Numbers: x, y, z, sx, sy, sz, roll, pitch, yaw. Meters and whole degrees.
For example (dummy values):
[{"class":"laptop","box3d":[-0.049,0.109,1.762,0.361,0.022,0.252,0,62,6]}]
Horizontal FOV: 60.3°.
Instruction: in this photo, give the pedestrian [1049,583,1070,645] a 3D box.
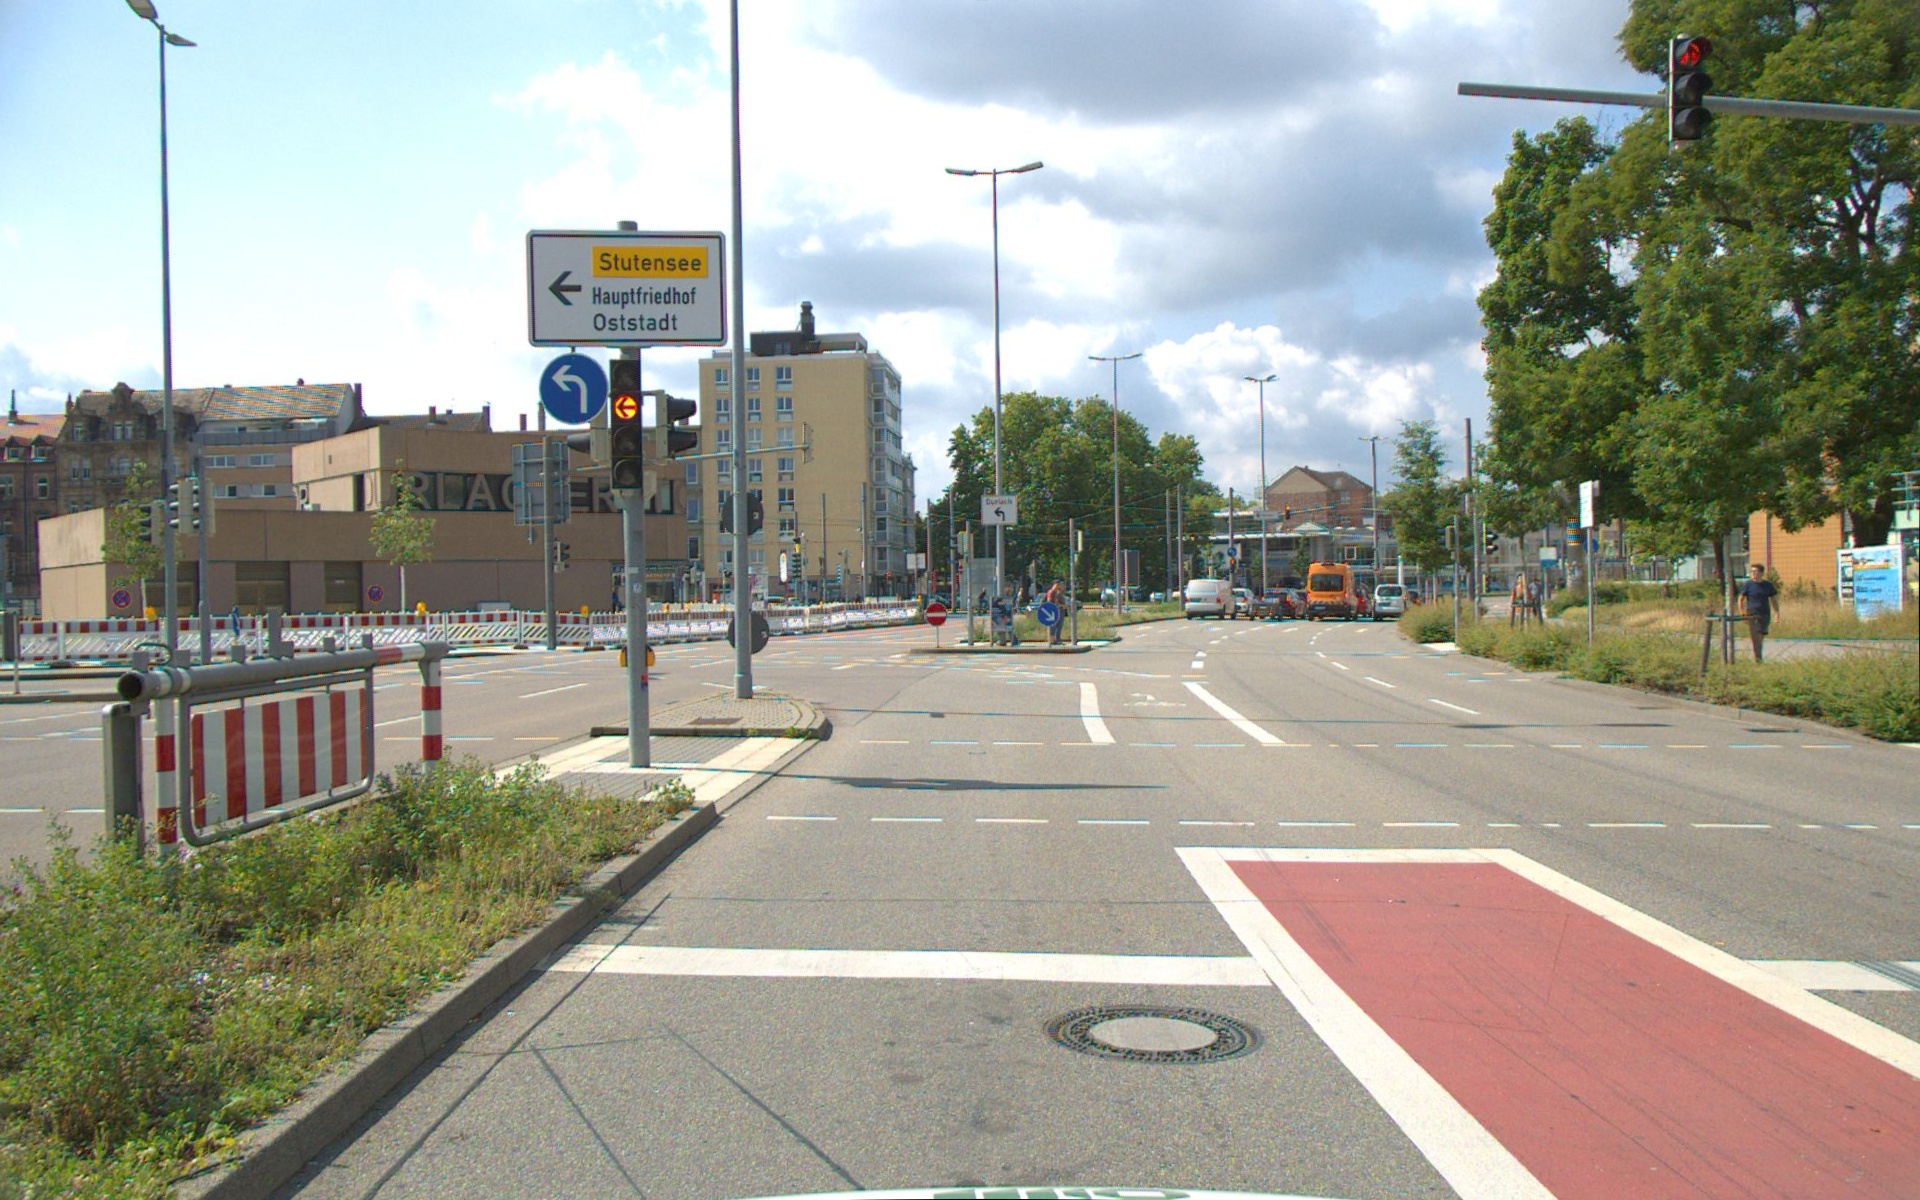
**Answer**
[{"class":"pedestrian","box3d":[2.801,0.393,46.456,0.513,1.713,0.624,-1,0,7]}]

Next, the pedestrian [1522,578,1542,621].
[{"class":"pedestrian","box3d":[24.490,-0.005,70.791,0.771,1.815,0.667,-1,0,19]}]

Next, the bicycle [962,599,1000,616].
[{"class":"bicycle","box3d":[1.374,0.476,108.049,2.329,1.085,0.859,-1,0,18]}]

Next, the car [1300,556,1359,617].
[{"class":"car","box3d":[18.111,-0.656,80.926,2.086,2.829,4.639,-2,0,21]}]

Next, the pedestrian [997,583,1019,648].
[{"class":"pedestrian","box3d":[1.329,0.419,45.403,0.513,1.764,0.624,-1,0,7]}]

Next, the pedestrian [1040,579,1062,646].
[{"class":"pedestrian","box3d":[2.431,0.333,44.321,0.513,1.764,0.624,-1,0,7]}]

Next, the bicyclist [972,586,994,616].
[{"class":"bicyclist","box3d":[1.483,0.053,108.013,1.194,1.943,0.859,-1,0,18]}]

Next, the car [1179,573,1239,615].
[{"class":"car","box3d":[12.543,-0.309,83.048,1.964,2.001,4.639,-2,0,21]}]

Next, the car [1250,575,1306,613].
[{"class":"car","box3d":[16.140,-0.313,83.843,1.953,1.858,3.999,-2,0,22]}]

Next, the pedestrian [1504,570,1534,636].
[{"class":"pedestrian","box3d":[15.234,0.075,45.087,0.646,1.764,0.578,-1,0,7]}]

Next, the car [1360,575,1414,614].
[{"class":"car","box3d":[20.846,-0.281,80.602,1.953,1.826,3.999,-2,0,23]}]

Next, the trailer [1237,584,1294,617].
[{"class":"trailer","box3d":[14.943,0.003,80.760,1.953,1.503,3.999,-2,0,22]}]

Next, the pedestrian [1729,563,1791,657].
[{"class":"pedestrian","box3d":[13.308,0.156,27.525,0.754,1.534,0.552,-1,0,3]}]

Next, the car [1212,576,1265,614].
[{"class":"car","box3d":[15.296,-0.313,90.664,1.950,1.972,4.639,-2,0,21]}]

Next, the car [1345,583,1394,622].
[{"class":"car","box3d":[22.055,0.097,88.957,1.950,1.972,4.639,-2,0,21]}]

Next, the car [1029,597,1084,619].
[{"class":"car","box3d":[7.269,0.615,124.785,3.985,1.506,1.659,2,1,39]}]
